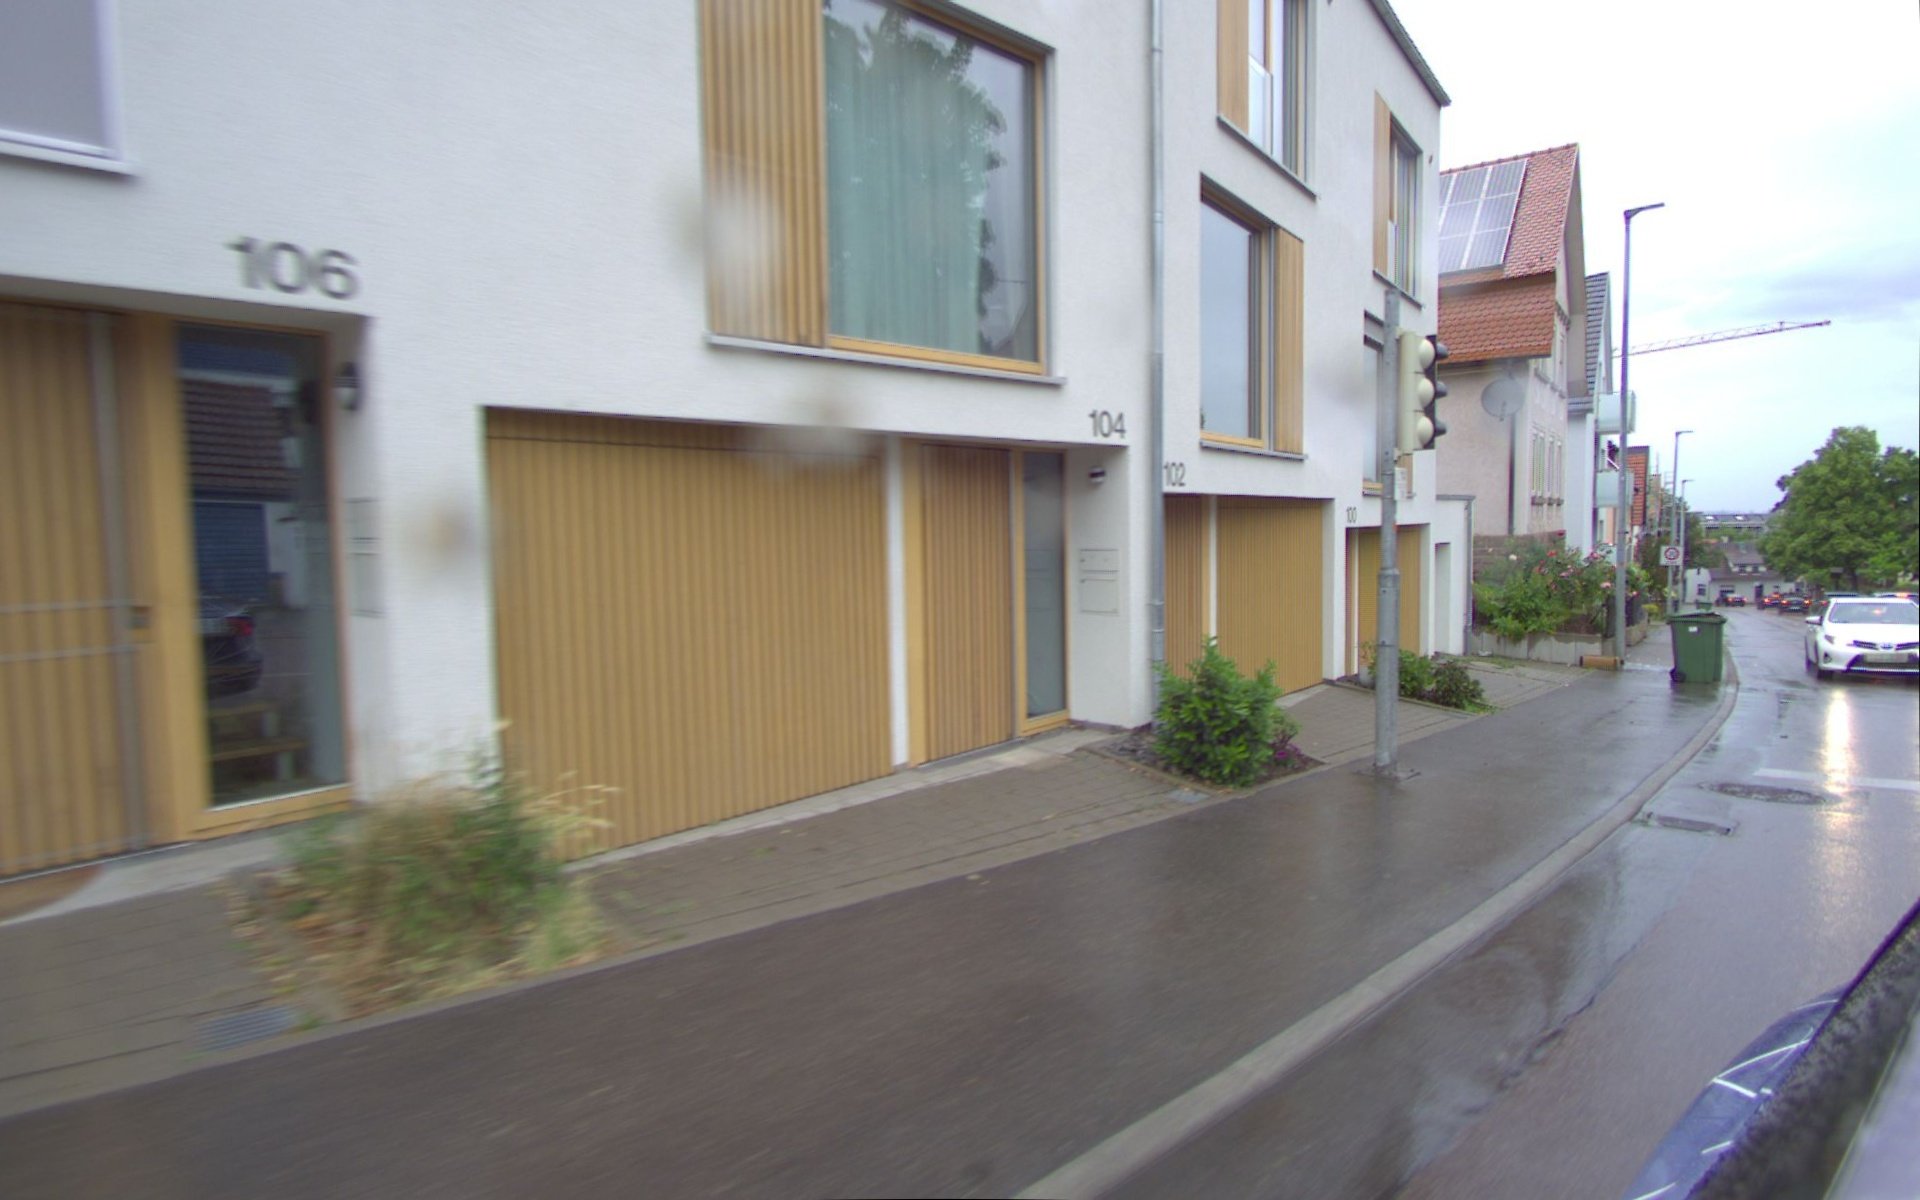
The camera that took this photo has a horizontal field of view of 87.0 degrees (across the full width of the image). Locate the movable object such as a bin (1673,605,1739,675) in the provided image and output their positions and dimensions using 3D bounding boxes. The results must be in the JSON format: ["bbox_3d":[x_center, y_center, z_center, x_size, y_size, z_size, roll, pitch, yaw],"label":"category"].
[{"bbox_3d":[12.117,0.632,16.438,0.834,1.074,0.739,0,0,38],"label":"movable object such as a bin"}]

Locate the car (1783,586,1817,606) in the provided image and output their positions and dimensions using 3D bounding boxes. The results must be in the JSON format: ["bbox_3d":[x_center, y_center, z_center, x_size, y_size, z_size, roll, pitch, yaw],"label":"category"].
[{"bbox_3d":[61.358,-0.304,73.942,1.613,1.459,3.689,0,1,36],"label":"car"}]

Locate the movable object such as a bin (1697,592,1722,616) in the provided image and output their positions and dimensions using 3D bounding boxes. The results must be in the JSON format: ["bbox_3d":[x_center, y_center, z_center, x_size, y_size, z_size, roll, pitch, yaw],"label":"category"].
[{"bbox_3d":[35.183,0.182,47.517,0.912,1.117,0.692,0,0,40],"label":"movable object such as a bin"}]

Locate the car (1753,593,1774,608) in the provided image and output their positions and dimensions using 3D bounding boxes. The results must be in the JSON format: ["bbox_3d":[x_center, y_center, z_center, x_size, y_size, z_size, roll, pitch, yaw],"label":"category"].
[{"bbox_3d":[85.065,0.060,107.141,1.556,1.472,4.031,0,1,36],"label":"car"}]

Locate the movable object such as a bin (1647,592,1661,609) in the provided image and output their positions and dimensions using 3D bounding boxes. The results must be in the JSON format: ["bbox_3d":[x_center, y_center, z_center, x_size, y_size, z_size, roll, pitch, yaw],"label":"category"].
[{"bbox_3d":[43.444,0.001,63.386,0.608,0.978,0.782,8,5,34],"label":"movable object such as a bin"}]

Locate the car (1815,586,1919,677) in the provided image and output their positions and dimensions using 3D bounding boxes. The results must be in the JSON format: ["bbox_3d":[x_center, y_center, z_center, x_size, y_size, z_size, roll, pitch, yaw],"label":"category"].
[{"bbox_3d":[16.886,0.505,18.400,1.850,1.453,3.963,-1,1,38],"label":"car"}]

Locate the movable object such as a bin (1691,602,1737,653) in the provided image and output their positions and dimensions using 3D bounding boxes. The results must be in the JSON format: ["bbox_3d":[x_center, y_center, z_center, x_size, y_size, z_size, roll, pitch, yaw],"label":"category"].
[{"bbox_3d":[16.599,0.594,22.271,0.795,1.084,0.750,0,0,39],"label":"movable object such as a bin"}]

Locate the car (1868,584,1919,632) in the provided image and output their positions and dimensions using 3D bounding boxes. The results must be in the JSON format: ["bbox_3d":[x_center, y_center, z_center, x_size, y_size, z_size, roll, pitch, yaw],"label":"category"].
[{"bbox_3d":[33.075,0.249,35.115,1.798,1.573,3.783,0,1,34],"label":"car"}]

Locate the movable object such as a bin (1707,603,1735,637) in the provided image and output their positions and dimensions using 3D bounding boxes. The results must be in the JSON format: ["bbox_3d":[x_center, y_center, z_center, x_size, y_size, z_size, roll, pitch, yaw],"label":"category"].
[{"bbox_3d":[21.101,0.559,28.065,0.629,0.908,0.702,0,0,37],"label":"movable object such as a bin"}]

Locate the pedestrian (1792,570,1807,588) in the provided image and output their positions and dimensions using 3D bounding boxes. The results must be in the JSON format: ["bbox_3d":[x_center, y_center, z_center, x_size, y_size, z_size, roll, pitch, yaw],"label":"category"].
[{"bbox_3d":[86.940,-2.190,104.814,0.962,1.853,0.886,0,0,29],"label":"pedestrian"}]

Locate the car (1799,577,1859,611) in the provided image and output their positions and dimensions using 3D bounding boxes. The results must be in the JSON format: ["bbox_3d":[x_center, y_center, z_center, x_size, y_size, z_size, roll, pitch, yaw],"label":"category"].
[{"bbox_3d":[44.290,-0.312,51.641,1.912,1.644,4.308,0,1,35],"label":"car"}]
